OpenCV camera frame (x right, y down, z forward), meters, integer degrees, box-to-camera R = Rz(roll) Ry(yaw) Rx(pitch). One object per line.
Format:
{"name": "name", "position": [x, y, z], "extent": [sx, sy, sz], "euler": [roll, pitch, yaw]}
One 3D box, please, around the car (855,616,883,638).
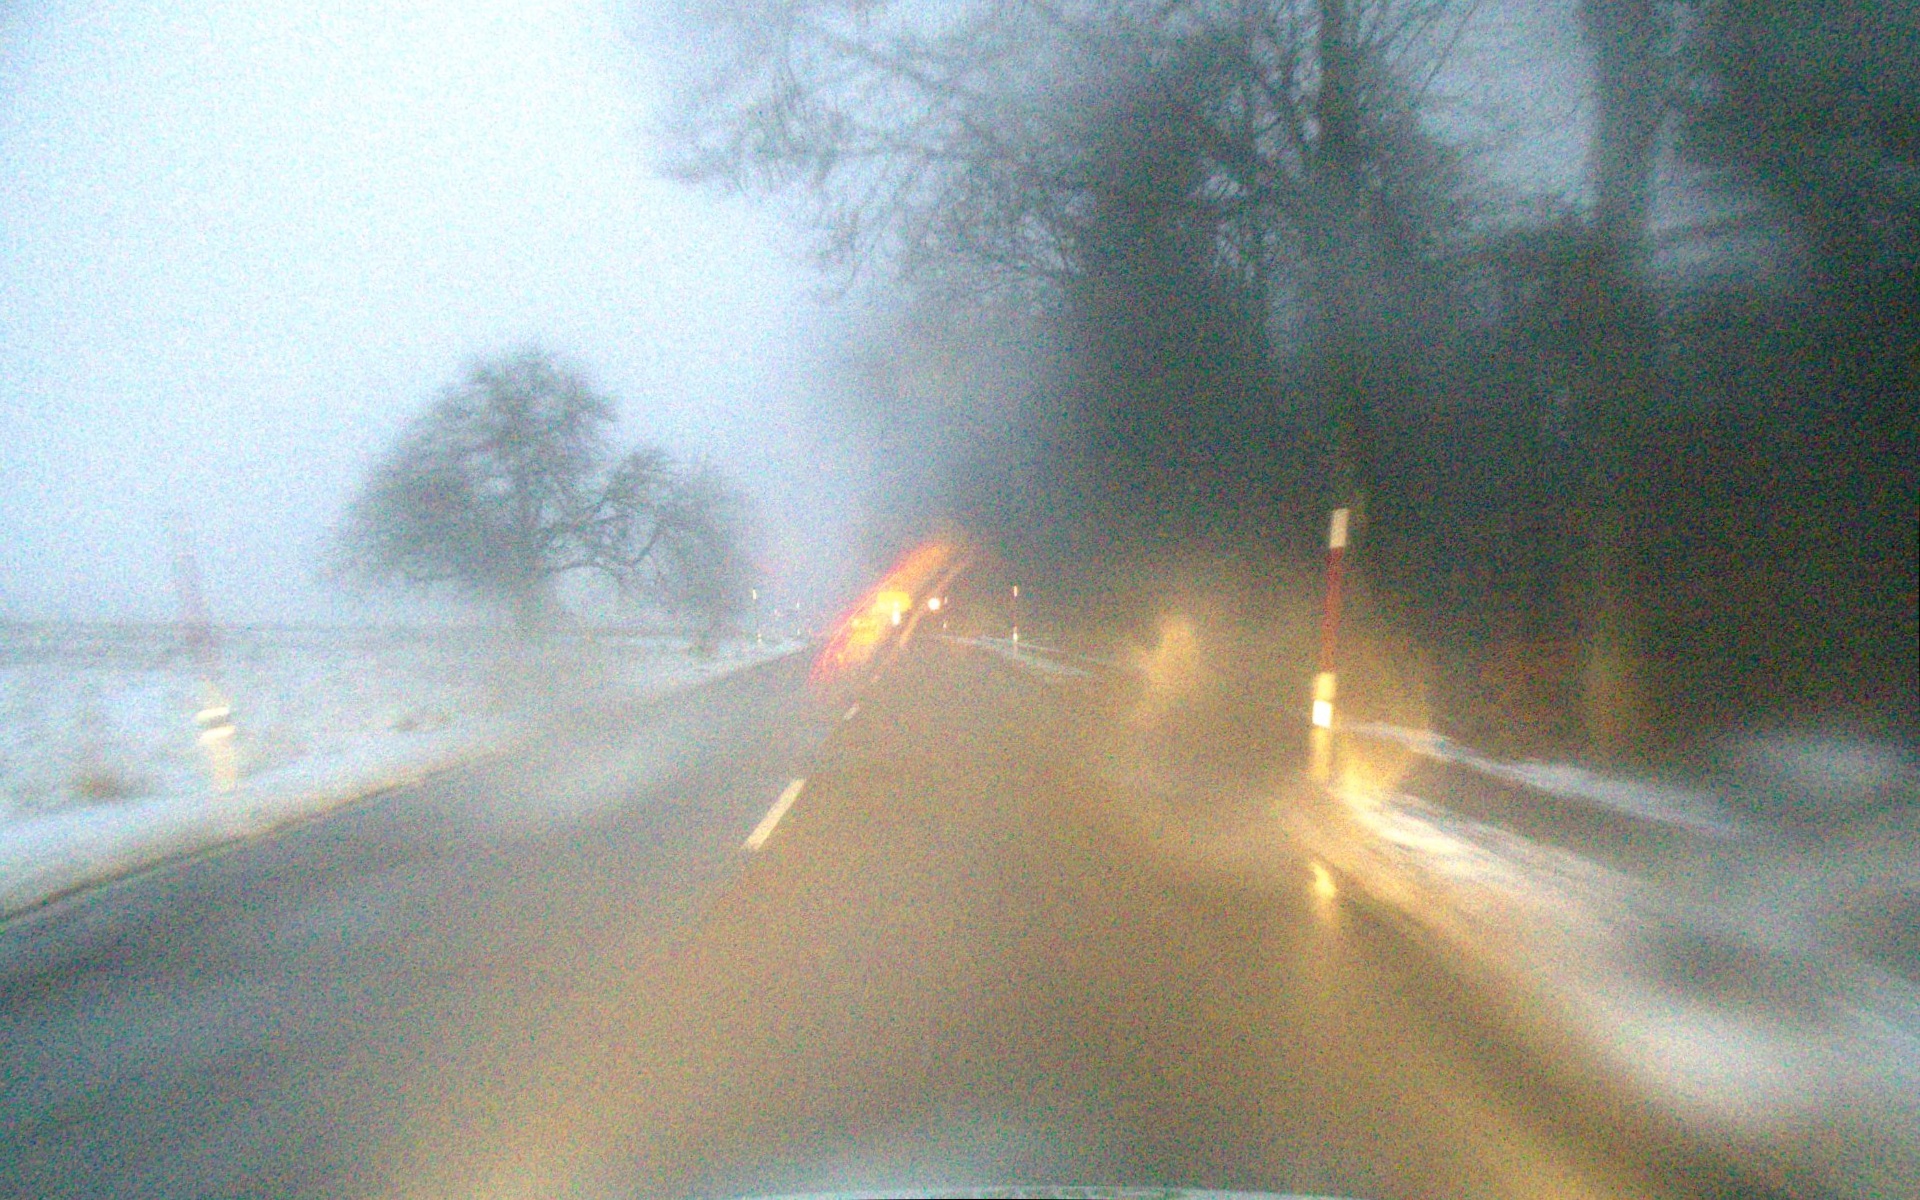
{"name": "car", "position": [-6.496, 1.945, 118.505], "extent": [1.954, 1.445, 3.998], "euler": [-2, 0, -2]}
